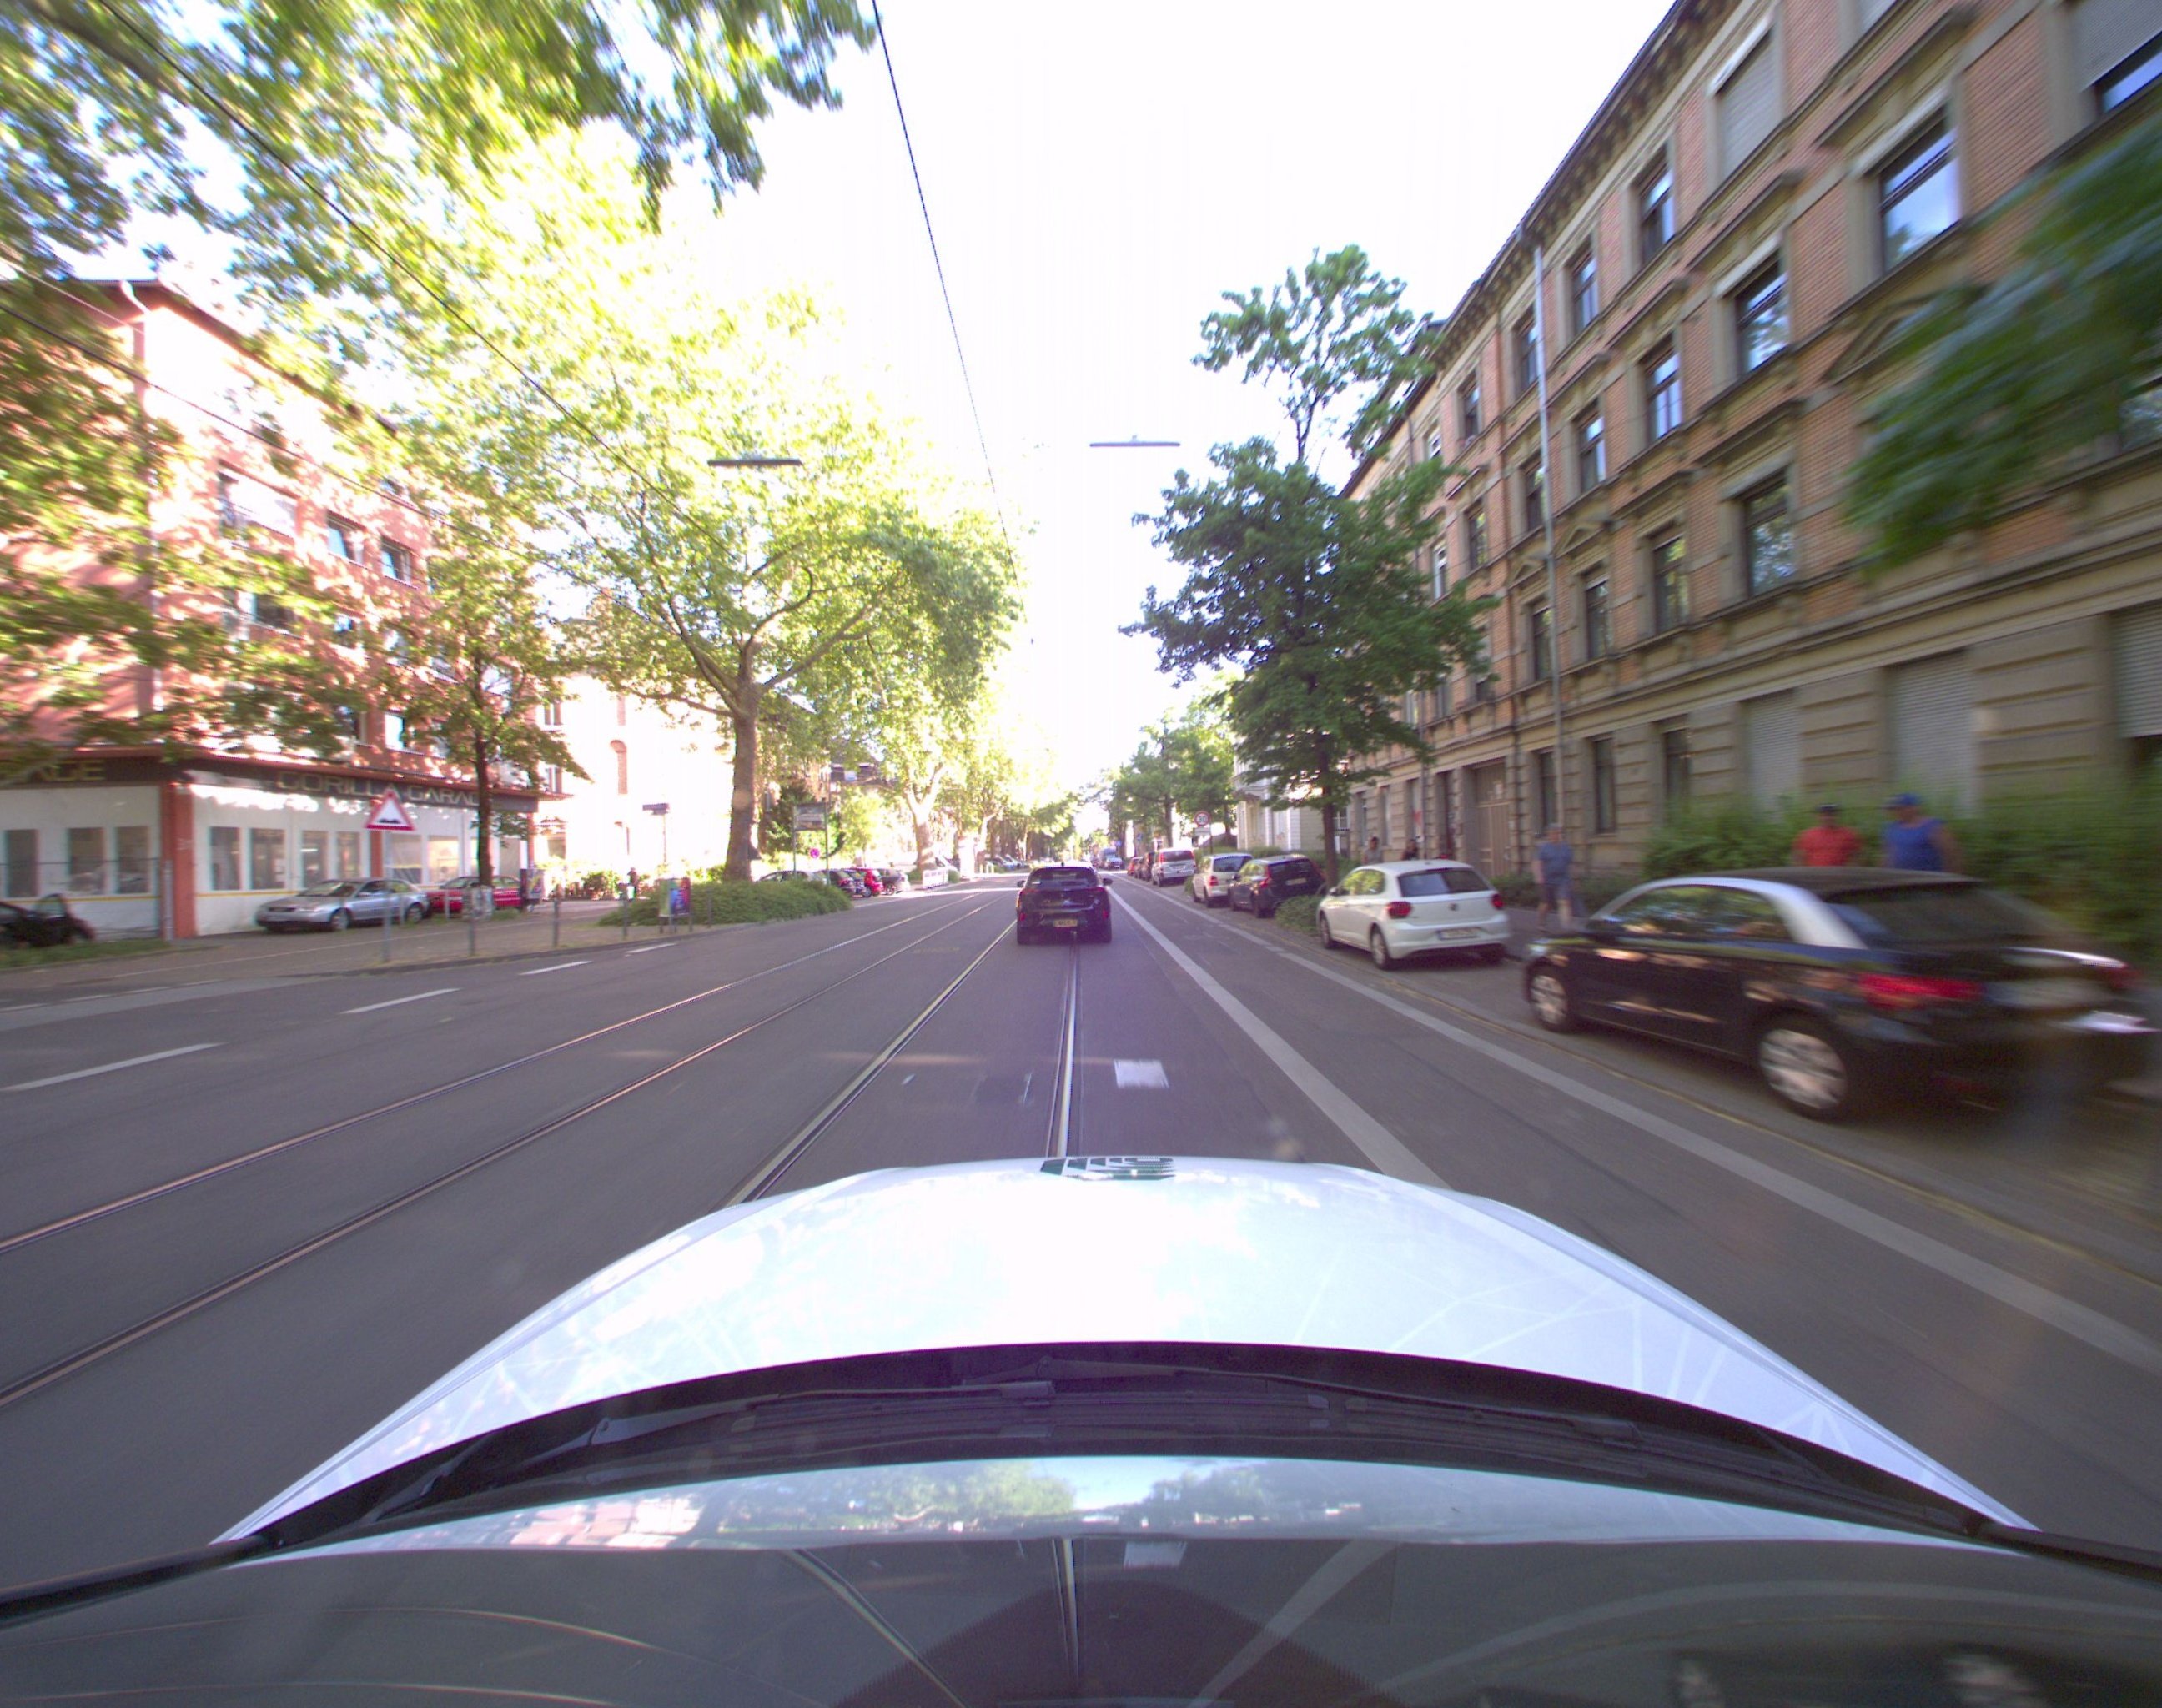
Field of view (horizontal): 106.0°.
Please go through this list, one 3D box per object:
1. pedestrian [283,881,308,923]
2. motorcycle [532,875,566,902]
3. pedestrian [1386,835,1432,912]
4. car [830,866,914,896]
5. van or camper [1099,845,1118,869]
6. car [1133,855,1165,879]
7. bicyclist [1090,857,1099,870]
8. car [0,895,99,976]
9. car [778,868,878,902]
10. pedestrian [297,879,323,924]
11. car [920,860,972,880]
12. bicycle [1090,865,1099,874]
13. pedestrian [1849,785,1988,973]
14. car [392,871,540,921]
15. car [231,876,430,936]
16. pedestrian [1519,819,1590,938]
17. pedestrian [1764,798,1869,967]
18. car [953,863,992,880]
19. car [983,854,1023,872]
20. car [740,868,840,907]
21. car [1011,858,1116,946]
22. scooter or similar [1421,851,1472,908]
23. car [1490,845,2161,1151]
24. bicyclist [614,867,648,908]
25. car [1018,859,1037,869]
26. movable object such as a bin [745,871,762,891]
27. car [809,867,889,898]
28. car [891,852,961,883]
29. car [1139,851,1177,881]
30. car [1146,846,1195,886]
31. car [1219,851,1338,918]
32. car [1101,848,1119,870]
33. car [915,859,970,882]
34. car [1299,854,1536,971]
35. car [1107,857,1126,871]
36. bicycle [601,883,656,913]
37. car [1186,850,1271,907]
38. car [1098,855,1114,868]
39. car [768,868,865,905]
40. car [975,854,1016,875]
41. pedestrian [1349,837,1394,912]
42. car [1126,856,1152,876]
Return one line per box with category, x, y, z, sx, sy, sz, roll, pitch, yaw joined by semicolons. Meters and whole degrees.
pedestrian;-31.907;1.941;33.089;0.501;1.660;0.549;-1;-1;-1
motorcycle;-26.104;1.683;40.016;0.597;1.288;1.627;-1;-1;-1
pedestrian;7.532;0.439;18.743;0.723;1.709;0.857;-1;-1;3
car;-11.060;1.407;43.293;3.975;1.465;1.853;-1;-1;-1
van or camper;3.861;0.425;115.994;2.247;3.216;5.529;-3;-1;0
car;4.727;0.922;57.360;1.707;1.514;4.034;-4;-1;-2
bicyclist;1.549;1.099;93.854;0.955;1.499;1.093;-1;-1;-2
car;-21.699;1.624;15.399;1.813;1.493;3.986;-1;-1;-10
car;-11.797;1.451;38.134;4.067;1.465;1.821;-1;-1;1
pedestrian;-31.140;1.923;32.882;0.537;1.778;0.520;-1;-1;-1
car;-11.786;1.421;71.313;4.290;1.607;1.924;-1;0;-3
bicycle;1.563;1.728;93.878;0.965;0.999;2.581;-1;-1;-2
pedestrian;8.379;0.237;8.180;0.597;1.793;0.727;-1;-1;-3
car;-20.730;1.373;27.684;1.941;1.487;4.000;-1;-1;0
car;-20.772;1.384;22.804;1.941;1.407;3.892;-1;-1;0
pedestrian;7.366;0.373;12.696;0.724;1.793;0.600;-1;-1;-2
pedestrian;8.199;0.311;9.108;0.719;1.793;0.604;-2;-1;30
car;-12.538;2.058;94.332;4.297;1.593;1.777;-5;-1;-8
car;-11.651;1.293;121.301;5.615;2.593;2.198;-1;-1;3
car;-11.727;1.350;32.950;3.407;1.465;1.697;-1;-1;1
car;-0.297;0.838;15.876;1.758;1.460;3.949;-1;-1;0
scooter or similar;8.434;0.578;18.843;0.574;1.246;1.335;-1;-1;1
car;4.922;0.740;6.047;1.668;1.412;3.840;-4;-1;-2
bicyclist;-16.760;1.231;30.361;0.800;1.507;1.113;-1;-1;-11
car;-12.172;2.251;184.165;3.967;2.014;2.003;-1;-1;6
movable object such as a bin;-18.594;1.534;46.216;0.720;1.109;0.561;-1;-1;1
car;-11.457;1.406;40.439;3.407;1.465;1.760;-1;-1;1
car;-11.917;1.027;62.806;5.023;2.259;2.083;-1;-1;-4
car;4.798;0.752;51.401;1.880;1.766;4.677;-2;-1;0
car;4.585;0.616;42.408;1.878;1.851;4.966;-4;-1;0
car;5.144;0.750;21.907;1.879;1.467;4.590;-4;-1;-2
car;3.914;0.643;109.428;2.079;2.772;4.696;-3;0;0
car;-11.628;1.354;68.669;4.290;1.801;1.924;-1;-1;-3
car;4.906;0.772;12.592;1.878;1.368;4.106;-4;-1;0
car;3.982;1.135;91.956;1.878;1.434;4.529;-4;-1;0
bicycle;-16.725;1.606;30.184;0.968;0.999;2.574;-1;-1;-10
car;4.730;0.752;26.703;1.878;1.568;4.241;-4;-1;0
car;3.765;1.106;123.182;2.247;1.840;5.529;-3;-1;0
car;-11.373;1.397;35.210;3.588;1.465;1.687;-1;-1;1
car;-11.371;1.419;108.590;5.021;2.374;2.081;-5;-1;-1
pedestrian;6.716;0.470;18.844;0.722;1.693;0.958;-1;-1;5
car;4.677;0.993;65.933;1.697;1.423;3.977;-5;-1;0
